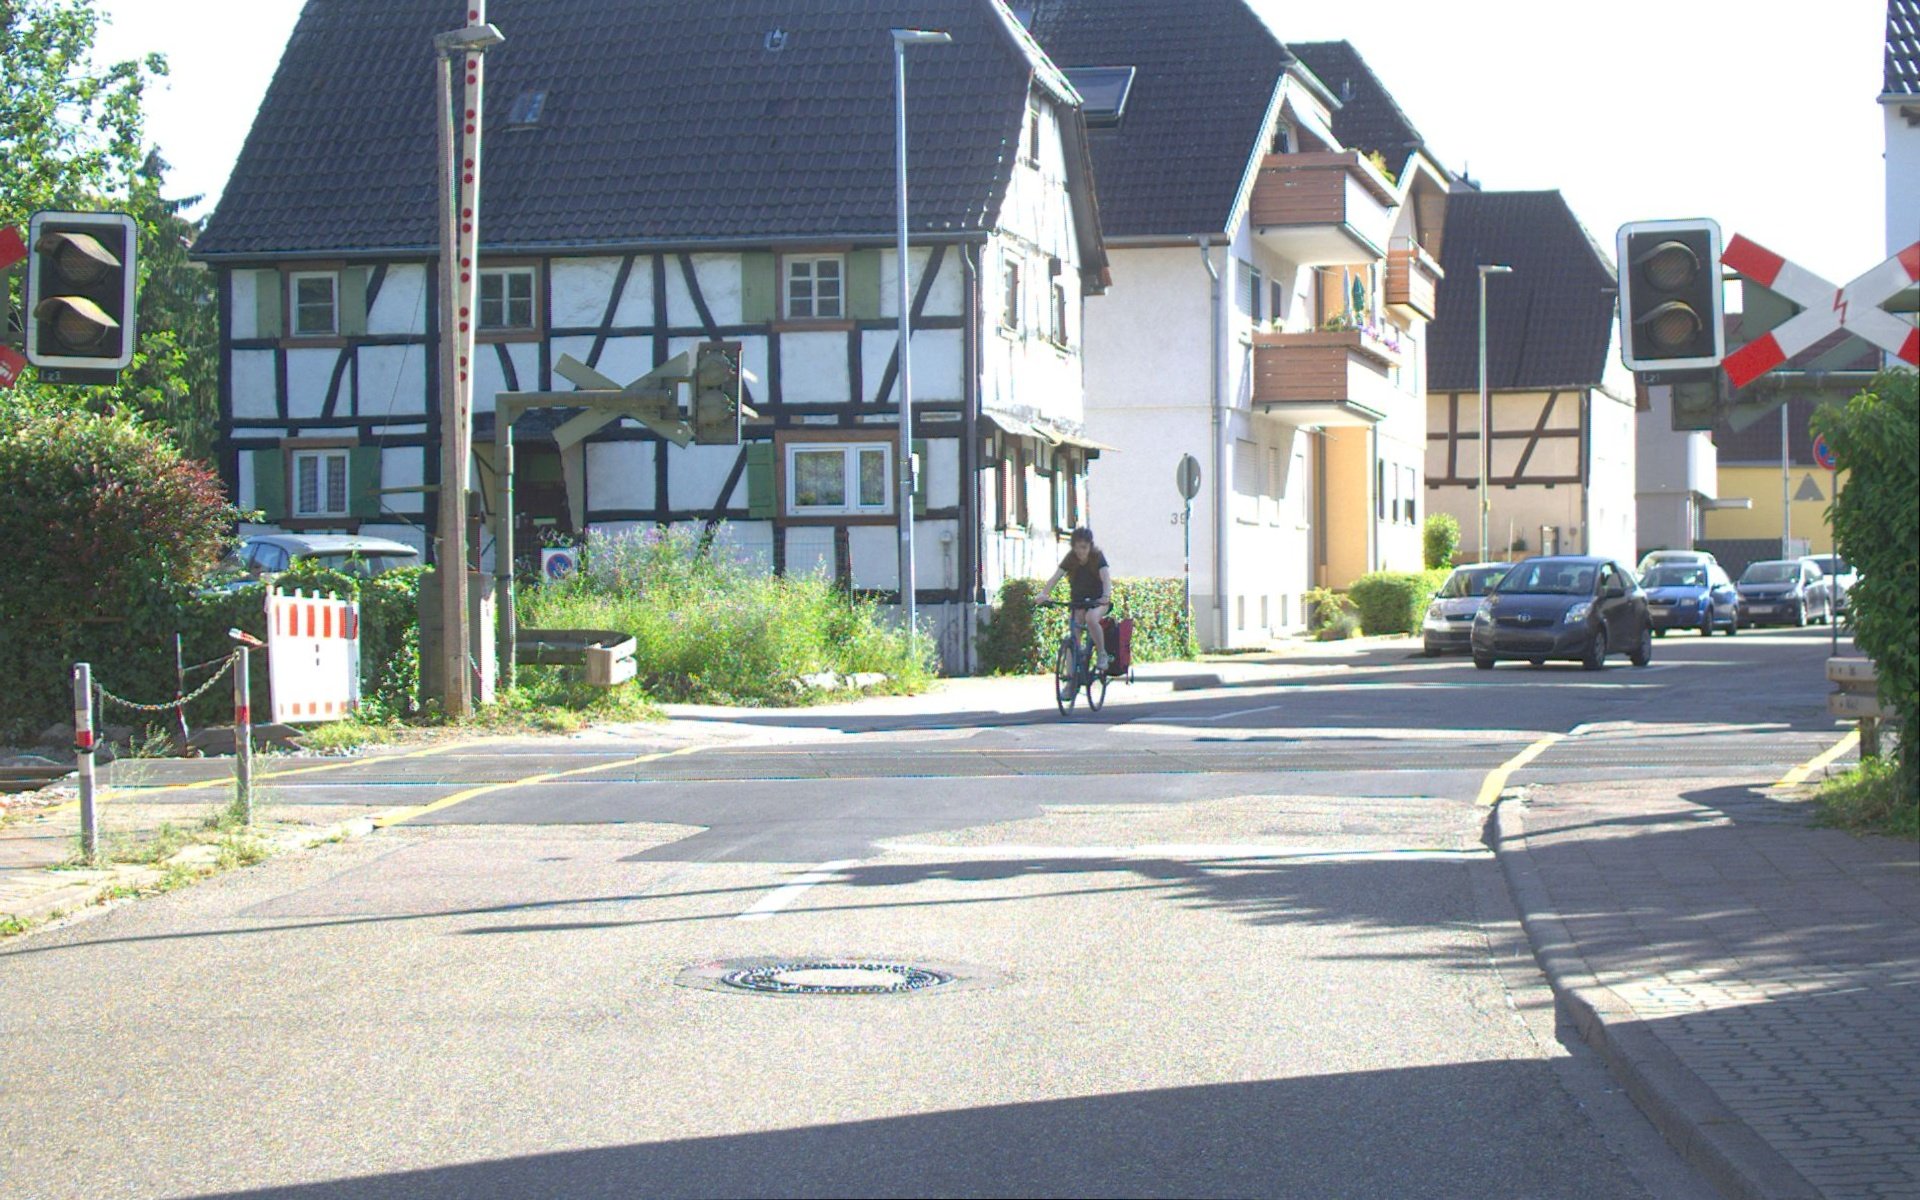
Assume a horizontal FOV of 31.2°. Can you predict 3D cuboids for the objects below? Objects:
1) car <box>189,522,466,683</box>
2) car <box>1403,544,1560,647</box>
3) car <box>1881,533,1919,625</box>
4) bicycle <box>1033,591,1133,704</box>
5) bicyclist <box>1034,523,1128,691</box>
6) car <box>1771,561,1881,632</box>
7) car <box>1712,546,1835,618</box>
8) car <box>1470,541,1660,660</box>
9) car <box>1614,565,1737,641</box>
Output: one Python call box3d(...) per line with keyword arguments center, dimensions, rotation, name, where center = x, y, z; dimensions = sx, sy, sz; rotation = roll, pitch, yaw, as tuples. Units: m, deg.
box3d(center=(-6.672, 0.011, 35.976), dimensions=(1.683, 1.559, 4.000), rotation=(2, 0, -28), name="car")
box3d(center=(8.341, -0.080, 54.760), dimensions=(1.632, 1.501, 3.849), rotation=(-3, -1, 20), name="car")
box3d(center=(26.377, -0.581, 92.228), dimensions=(2.080, 2.386, 5.200), rotation=(-2, -1, 28), name="car")
box3d(center=(1.137, 0.443, 32.061), dimensions=(0.883, 1.002, 2.063), rotation=(-1, -1, 2), name="bicycle")
box3d(center=(1.127, 0.073, 32.137), dimensions=(0.848, 1.536, 0.873), rotation=(-1, -1, 2), name="bicyclist")
box3d(center=(20.316, -0.094, 80.538), dimensions=(1.676, 1.566, 3.960), rotation=(-2, 0, 26), name="car")
box3d(center=(18.081, -0.383, 76.284), dimensions=(1.706, 1.513, 4.116), rotation=(-2, -1, 27), name="car")
box3d(center=(8.179, 0.030, 46.243), dimensions=(1.688, 1.505, 3.649), rotation=(0, -1, 24), name="car")
box3d(center=(14.096, 0.064, 67.598), dimensions=(1.640, 1.436, 4.070), rotation=(-1, -1, 22), name="car")
